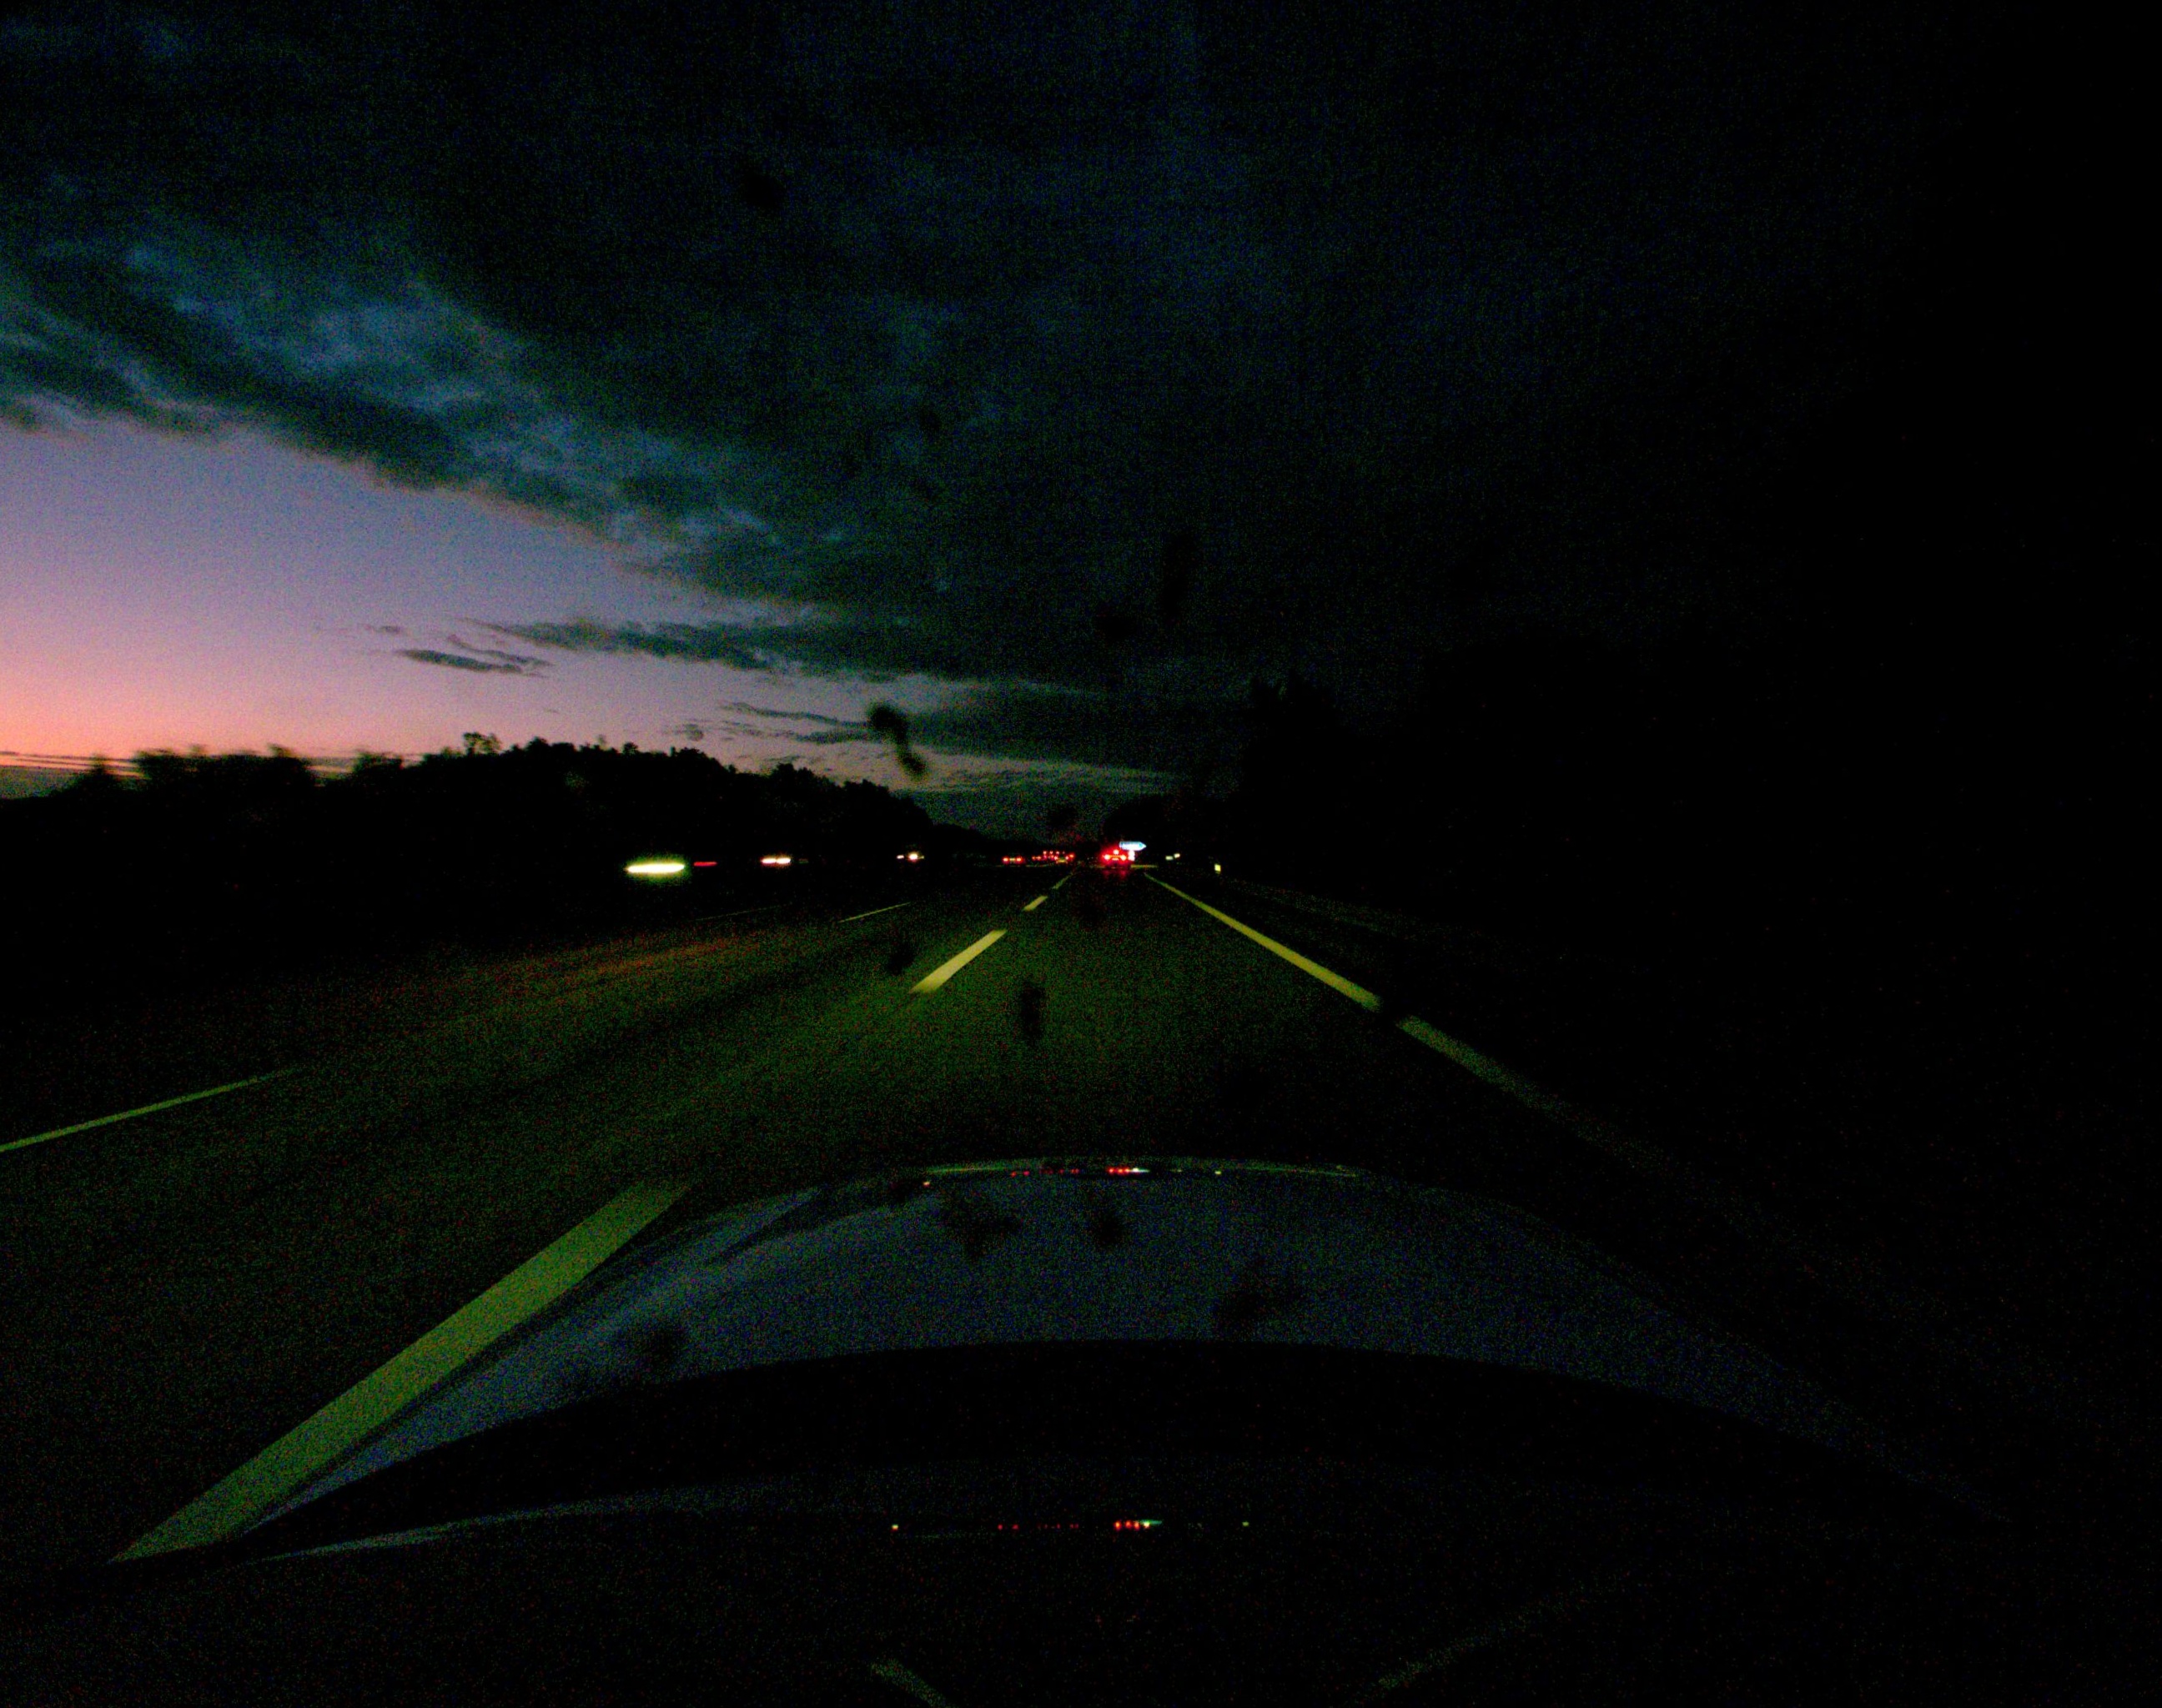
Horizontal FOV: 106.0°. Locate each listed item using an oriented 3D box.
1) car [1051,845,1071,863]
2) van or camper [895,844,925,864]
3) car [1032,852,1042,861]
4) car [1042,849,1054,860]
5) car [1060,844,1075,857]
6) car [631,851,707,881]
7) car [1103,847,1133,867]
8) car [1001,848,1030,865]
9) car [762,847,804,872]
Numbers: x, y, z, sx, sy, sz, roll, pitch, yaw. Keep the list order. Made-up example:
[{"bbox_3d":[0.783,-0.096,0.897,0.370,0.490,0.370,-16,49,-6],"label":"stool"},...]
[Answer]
[{"bbox_3d":[-2.289,0.027,94.563,1.986,2.013,4.003,0,0,2],"label":"car"},{"bbox_3d":[-22.148,-0.014,105.775,2.508,2.595,6.489,0,0,1],"label":"van or camper"},{"bbox_3d":[-10.034,0.531,186.563,2.101,2.013,3.994,-2,0,-4],"label":"car"},{"bbox_3d":[-6.416,0.135,158.549,2.062,2.013,4.004,-1,0,3],"label":"car"},{"bbox_3d":[-2.094,-0.536,125.030,1.985,2.013,4.003,-1,0,3],"label":"car"},{"bbox_3d":[-22.297,0.612,44.266,1.986,1.546,4.002,0,0,2],"label":"car"},{"bbox_3d":[3.170,0.240,68.615,1.982,1.659,4.326,0,0,9],"label":"car"},{"bbox_3d":[-6.331,0.213,79.390,1.983,1.642,4.562,-1,0,6],"label":"car"},{"bbox_3d":[-25.677,0.453,70.284,2.021,2.013,4.237,0,0,-1],"label":"car"}]
